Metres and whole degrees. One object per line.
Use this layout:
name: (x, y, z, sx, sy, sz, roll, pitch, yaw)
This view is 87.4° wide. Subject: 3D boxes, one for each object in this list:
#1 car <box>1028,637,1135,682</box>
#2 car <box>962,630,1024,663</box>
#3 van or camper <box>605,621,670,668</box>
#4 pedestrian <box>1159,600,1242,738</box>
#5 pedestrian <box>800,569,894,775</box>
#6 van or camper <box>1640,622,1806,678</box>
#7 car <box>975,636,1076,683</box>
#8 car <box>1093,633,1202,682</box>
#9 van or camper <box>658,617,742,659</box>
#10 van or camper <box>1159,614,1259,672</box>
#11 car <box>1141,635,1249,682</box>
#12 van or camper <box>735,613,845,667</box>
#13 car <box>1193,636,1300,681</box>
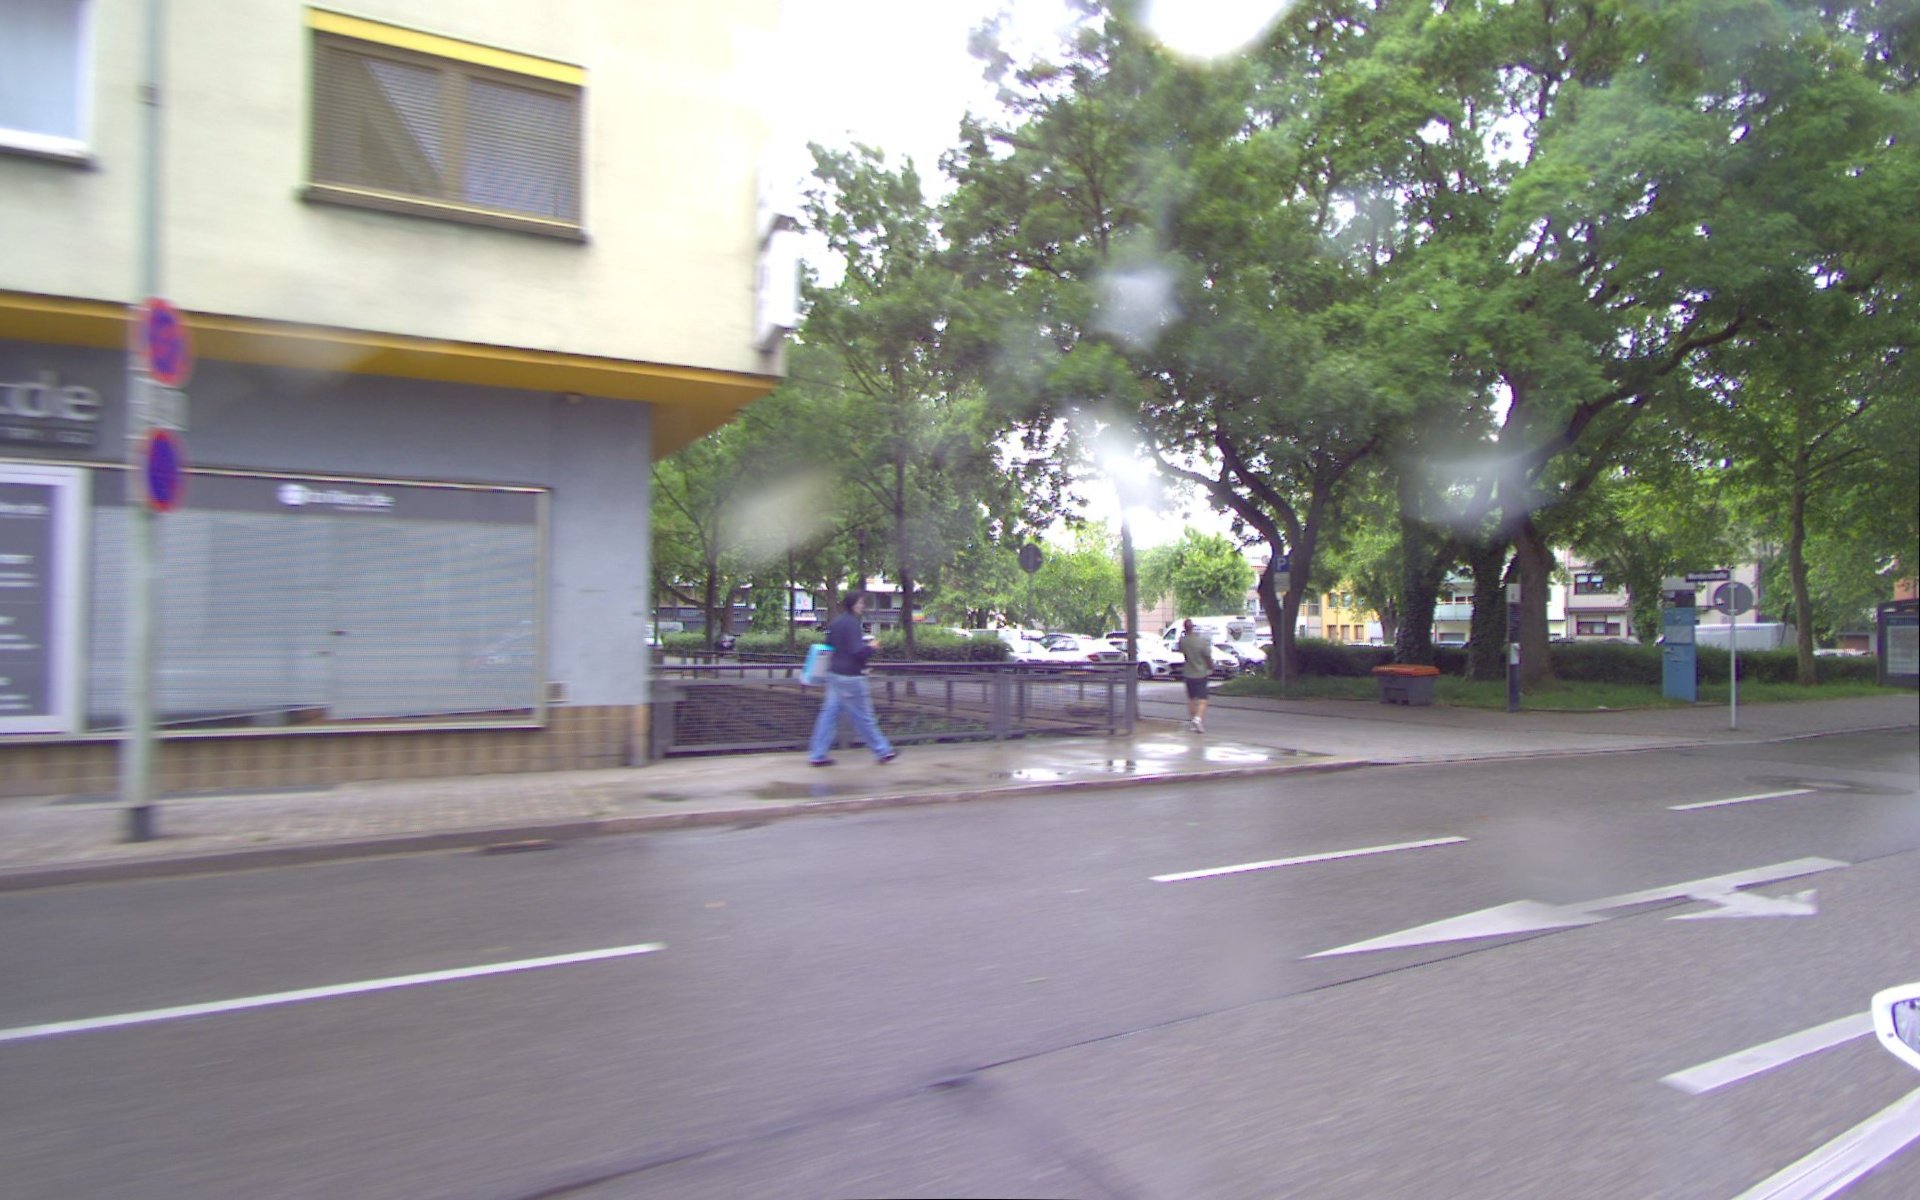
car: (4.271, 2.093, 35.892, 1.841, 1.483, 3.971, 2, -2, -28)
car: (1.852, 2.663, 57.719, 1.782, 1.848, 3.968, 2, -3, -30)
van or camper: (-15.362, 2.119, 47.707, 1.807, 2.039, 4.597, 4, -4, -32)
pedestrian: (3.538, 1.000, 14.842, 0.808, 1.950, 0.914, 1, -2, -23)
pedestrian: (-1.180, 0.726, 10.456, 0.771, 2.040, 0.748, 1, -2, -23)
van or camper: (28.372, 1.812, 37.519, 1.978, 1.975, 4.572, 2, -2, -31)
car: (2.208, 2.014, 34.690, 1.841, 1.483, 3.615, 2, -2, -29)
car: (6.832, 2.075, 37.003, 1.841, 1.647, 4.022, 2, -2, -28)
van or camper: (-16.312, 2.329, 62.483, 2.912, 2.433, 8.585, 2, -2, -30)
van or camper: (11.160, 1.911, 45.291, 2.074, 2.463, 4.310, 1, -2, -28)
car: (8.831, 2.176, 38.089, 1.841, 1.647, 3.971, 2, -2, -28)
van or camper: (-8.457, 1.904, 49.064, 2.532, 2.433, 8.587, 2, -2, -29)
car: (11.222, 2.257, 39.571, 1.841, 1.647, 3.971, 2, -2, -28)
